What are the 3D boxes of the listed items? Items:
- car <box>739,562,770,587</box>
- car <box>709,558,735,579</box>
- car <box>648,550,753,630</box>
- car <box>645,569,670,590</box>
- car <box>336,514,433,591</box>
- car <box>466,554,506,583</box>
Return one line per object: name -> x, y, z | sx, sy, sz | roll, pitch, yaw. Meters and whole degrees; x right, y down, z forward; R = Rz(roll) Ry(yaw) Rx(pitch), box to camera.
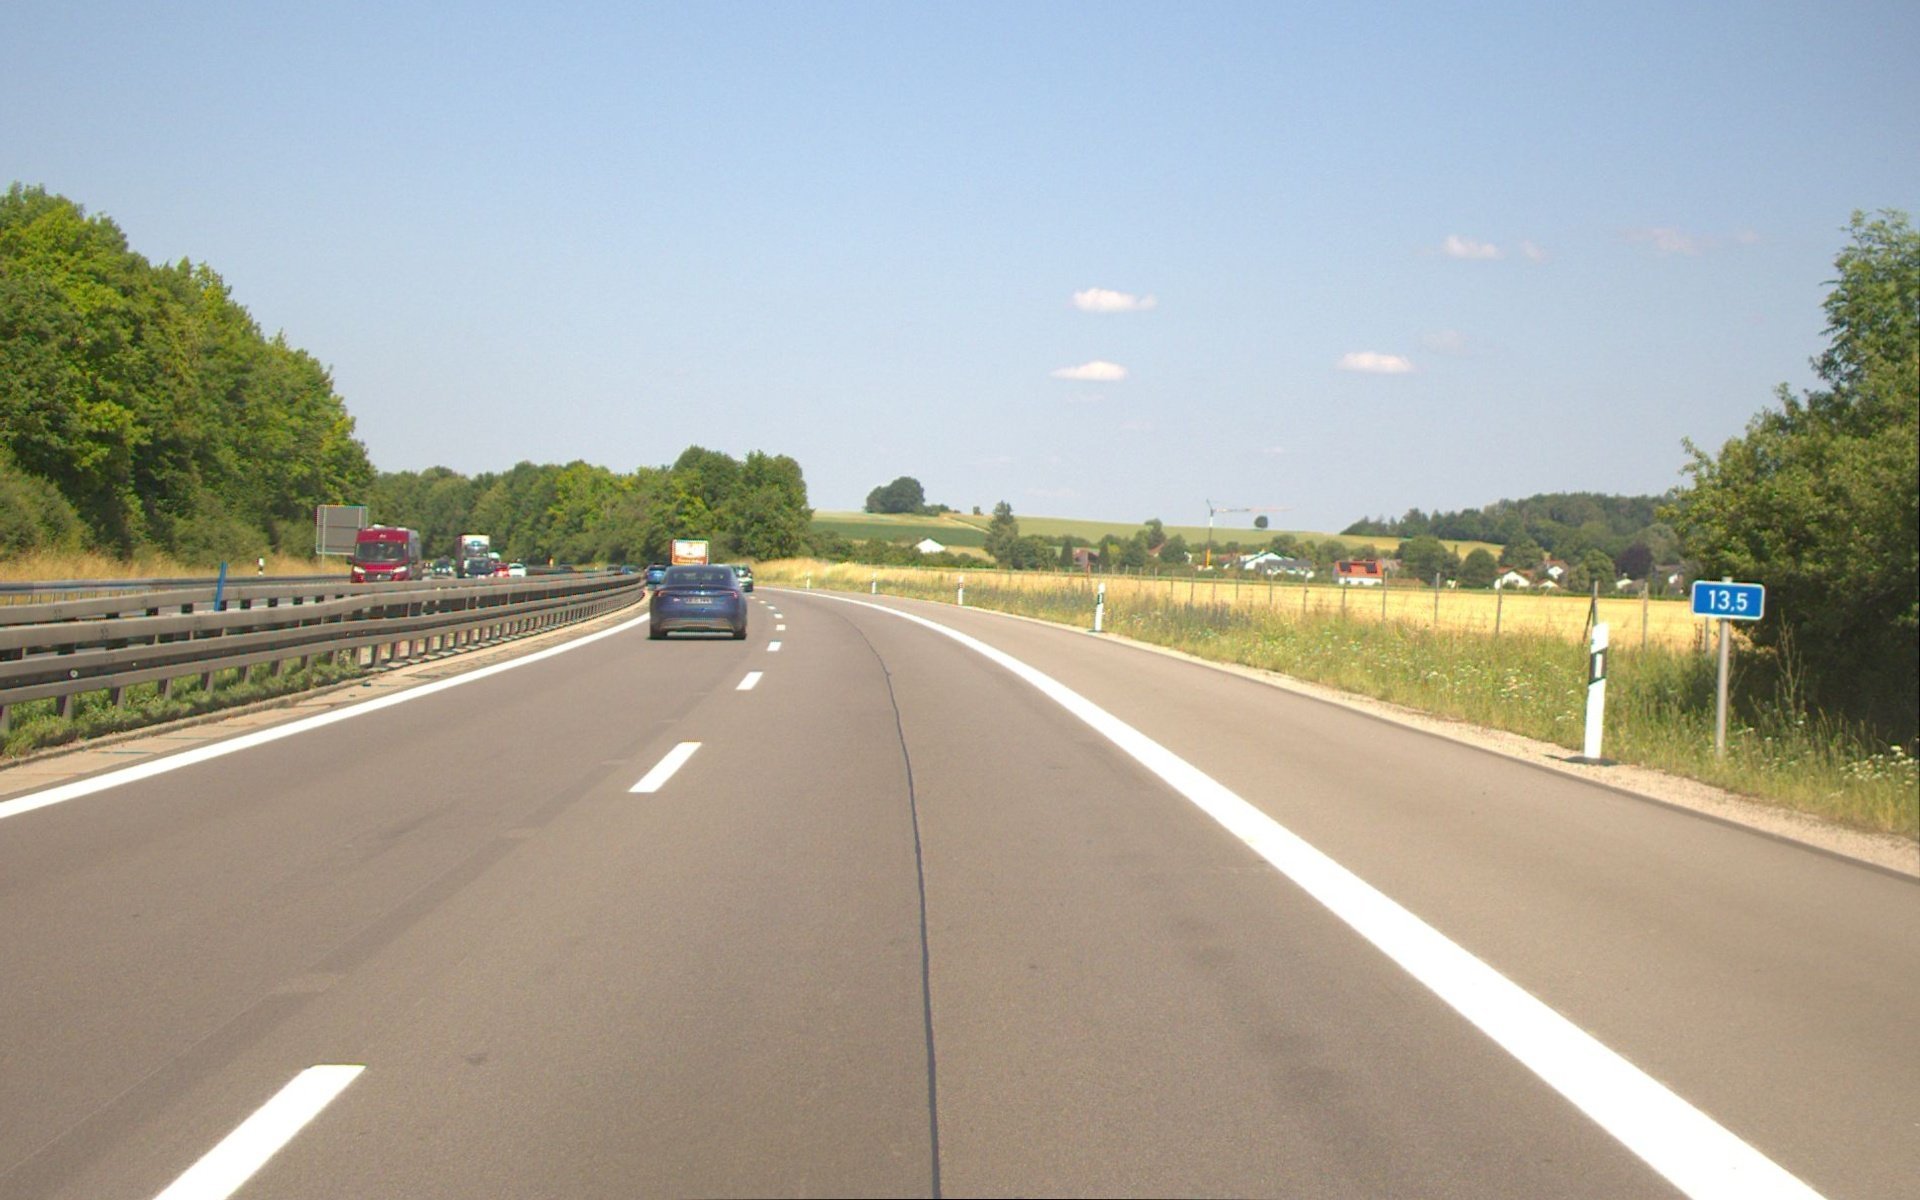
car -> -12.288, -1.549, 205.718 | 1.676, 1.448, 3.593 | 1, 1, -5
car -> -16.395, -2.170, 236.620 | 1.676, 1.448, 3.592 | 1, 1, -5
car -> -5.066, -0.227, 67.677 | 1.847, 1.428, 5.866 | 1, 1, -2
car -> -21.162, -1.448, 240.961 | 1.676, 1.448, 3.592 | 1, 1, -4
car -> -20.209, -1.686, 121.017 | 2.543, 2.586, 6.594 | 2, 1, -3
car -> -26.656, -1.793, 193.505 | 1.810, 1.550, 4.850 | 1, 1, -4
